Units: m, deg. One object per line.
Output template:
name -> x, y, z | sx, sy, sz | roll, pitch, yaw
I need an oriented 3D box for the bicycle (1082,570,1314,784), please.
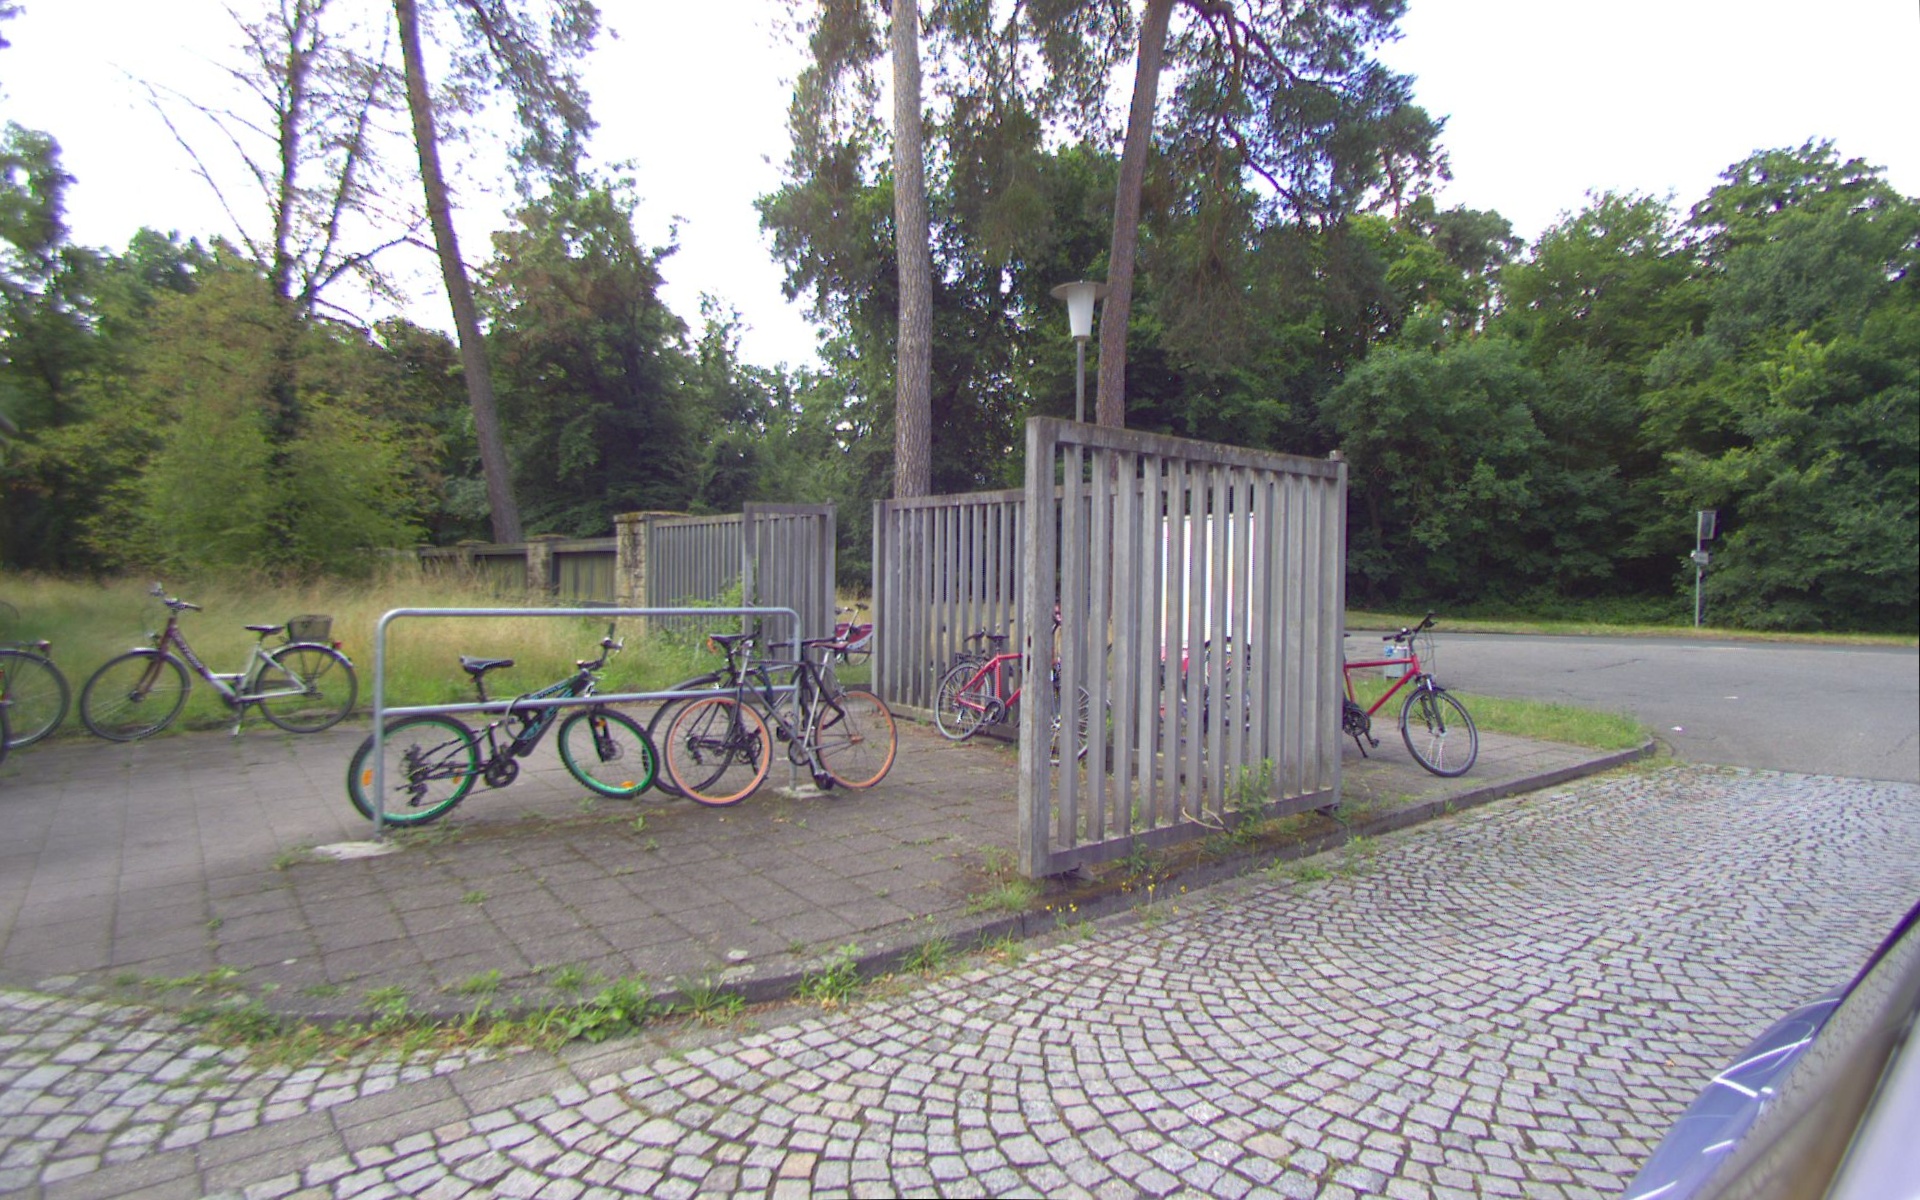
bicycle -> 1.769, 0.500, 7.837 | 0.506, 1.434, 1.907 | -1, 3, -34

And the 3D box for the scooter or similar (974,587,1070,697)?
scooter or similar -> 0.868, 0.580, 14.457 | 0.520, 1.435, 1.251 | 10, -4, -38

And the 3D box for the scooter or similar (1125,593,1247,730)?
scooter or similar -> 2.264, 0.578, 10.246 | 0.379, 1.261, 1.285 | 0, 2, -33

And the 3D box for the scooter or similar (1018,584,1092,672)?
scooter or similar -> 1.442, 0.404, 15.425 | 0.431, 1.243, 1.088 | -2, 4, -44

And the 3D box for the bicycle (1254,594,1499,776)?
bicycle -> 3.387, 0.627, 8.356 | 0.661, 1.293, 1.737 | 0, 2, -43

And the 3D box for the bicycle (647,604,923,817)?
bicycle -> -1.069, 0.637, 6.458 | 1.685, 1.185, 0.502 | 1, 1, -40

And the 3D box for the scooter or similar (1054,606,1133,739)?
scooter or similar -> 1.305, 0.656, 9.753 | 0.433, 1.165, 1.243 | 1, 1, 23

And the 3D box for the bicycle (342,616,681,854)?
bicycle -> -2.434, 0.654, 5.575 | 1.566, 1.070, 0.731 | 0, 2, -40

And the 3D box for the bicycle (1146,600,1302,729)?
bicycle -> 2.724, 0.633, 10.611 | 0.610, 1.177, 1.613 | 2, 1, -28

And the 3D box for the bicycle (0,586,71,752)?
bicycle -> -6.889, 0.463, 6.655 | 1.568, 1.097, 0.435 | 0, 2, -42

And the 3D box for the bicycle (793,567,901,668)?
bicycle -> -1.677, 0.252, 15.285 | 0.585, 1.435, 1.776 | 1, 0, 35

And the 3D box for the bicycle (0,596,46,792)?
bicycle -> -6.461, 0.536, 6.100 | 1.624, 1.132, 0.436 | 2, 3, 6

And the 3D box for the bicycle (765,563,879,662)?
bicycle -> -2.112, 0.177, 15.717 | 0.574, 1.435, 1.958 | 1, 1, 34

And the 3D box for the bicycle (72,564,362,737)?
bicycle -> -5.536, 0.335, 7.661 | 1.689, 1.185, 0.437 | -2, 3, -27

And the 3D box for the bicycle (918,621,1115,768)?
bicycle -> 0.402, 0.709, 8.322 | 0.449, 0.980, 1.951 | 0, 2, -38

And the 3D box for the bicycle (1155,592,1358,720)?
bicycle -> 3.297, 0.570, 11.449 | 0.625, 1.255, 2.170 | 0, 2, -43
